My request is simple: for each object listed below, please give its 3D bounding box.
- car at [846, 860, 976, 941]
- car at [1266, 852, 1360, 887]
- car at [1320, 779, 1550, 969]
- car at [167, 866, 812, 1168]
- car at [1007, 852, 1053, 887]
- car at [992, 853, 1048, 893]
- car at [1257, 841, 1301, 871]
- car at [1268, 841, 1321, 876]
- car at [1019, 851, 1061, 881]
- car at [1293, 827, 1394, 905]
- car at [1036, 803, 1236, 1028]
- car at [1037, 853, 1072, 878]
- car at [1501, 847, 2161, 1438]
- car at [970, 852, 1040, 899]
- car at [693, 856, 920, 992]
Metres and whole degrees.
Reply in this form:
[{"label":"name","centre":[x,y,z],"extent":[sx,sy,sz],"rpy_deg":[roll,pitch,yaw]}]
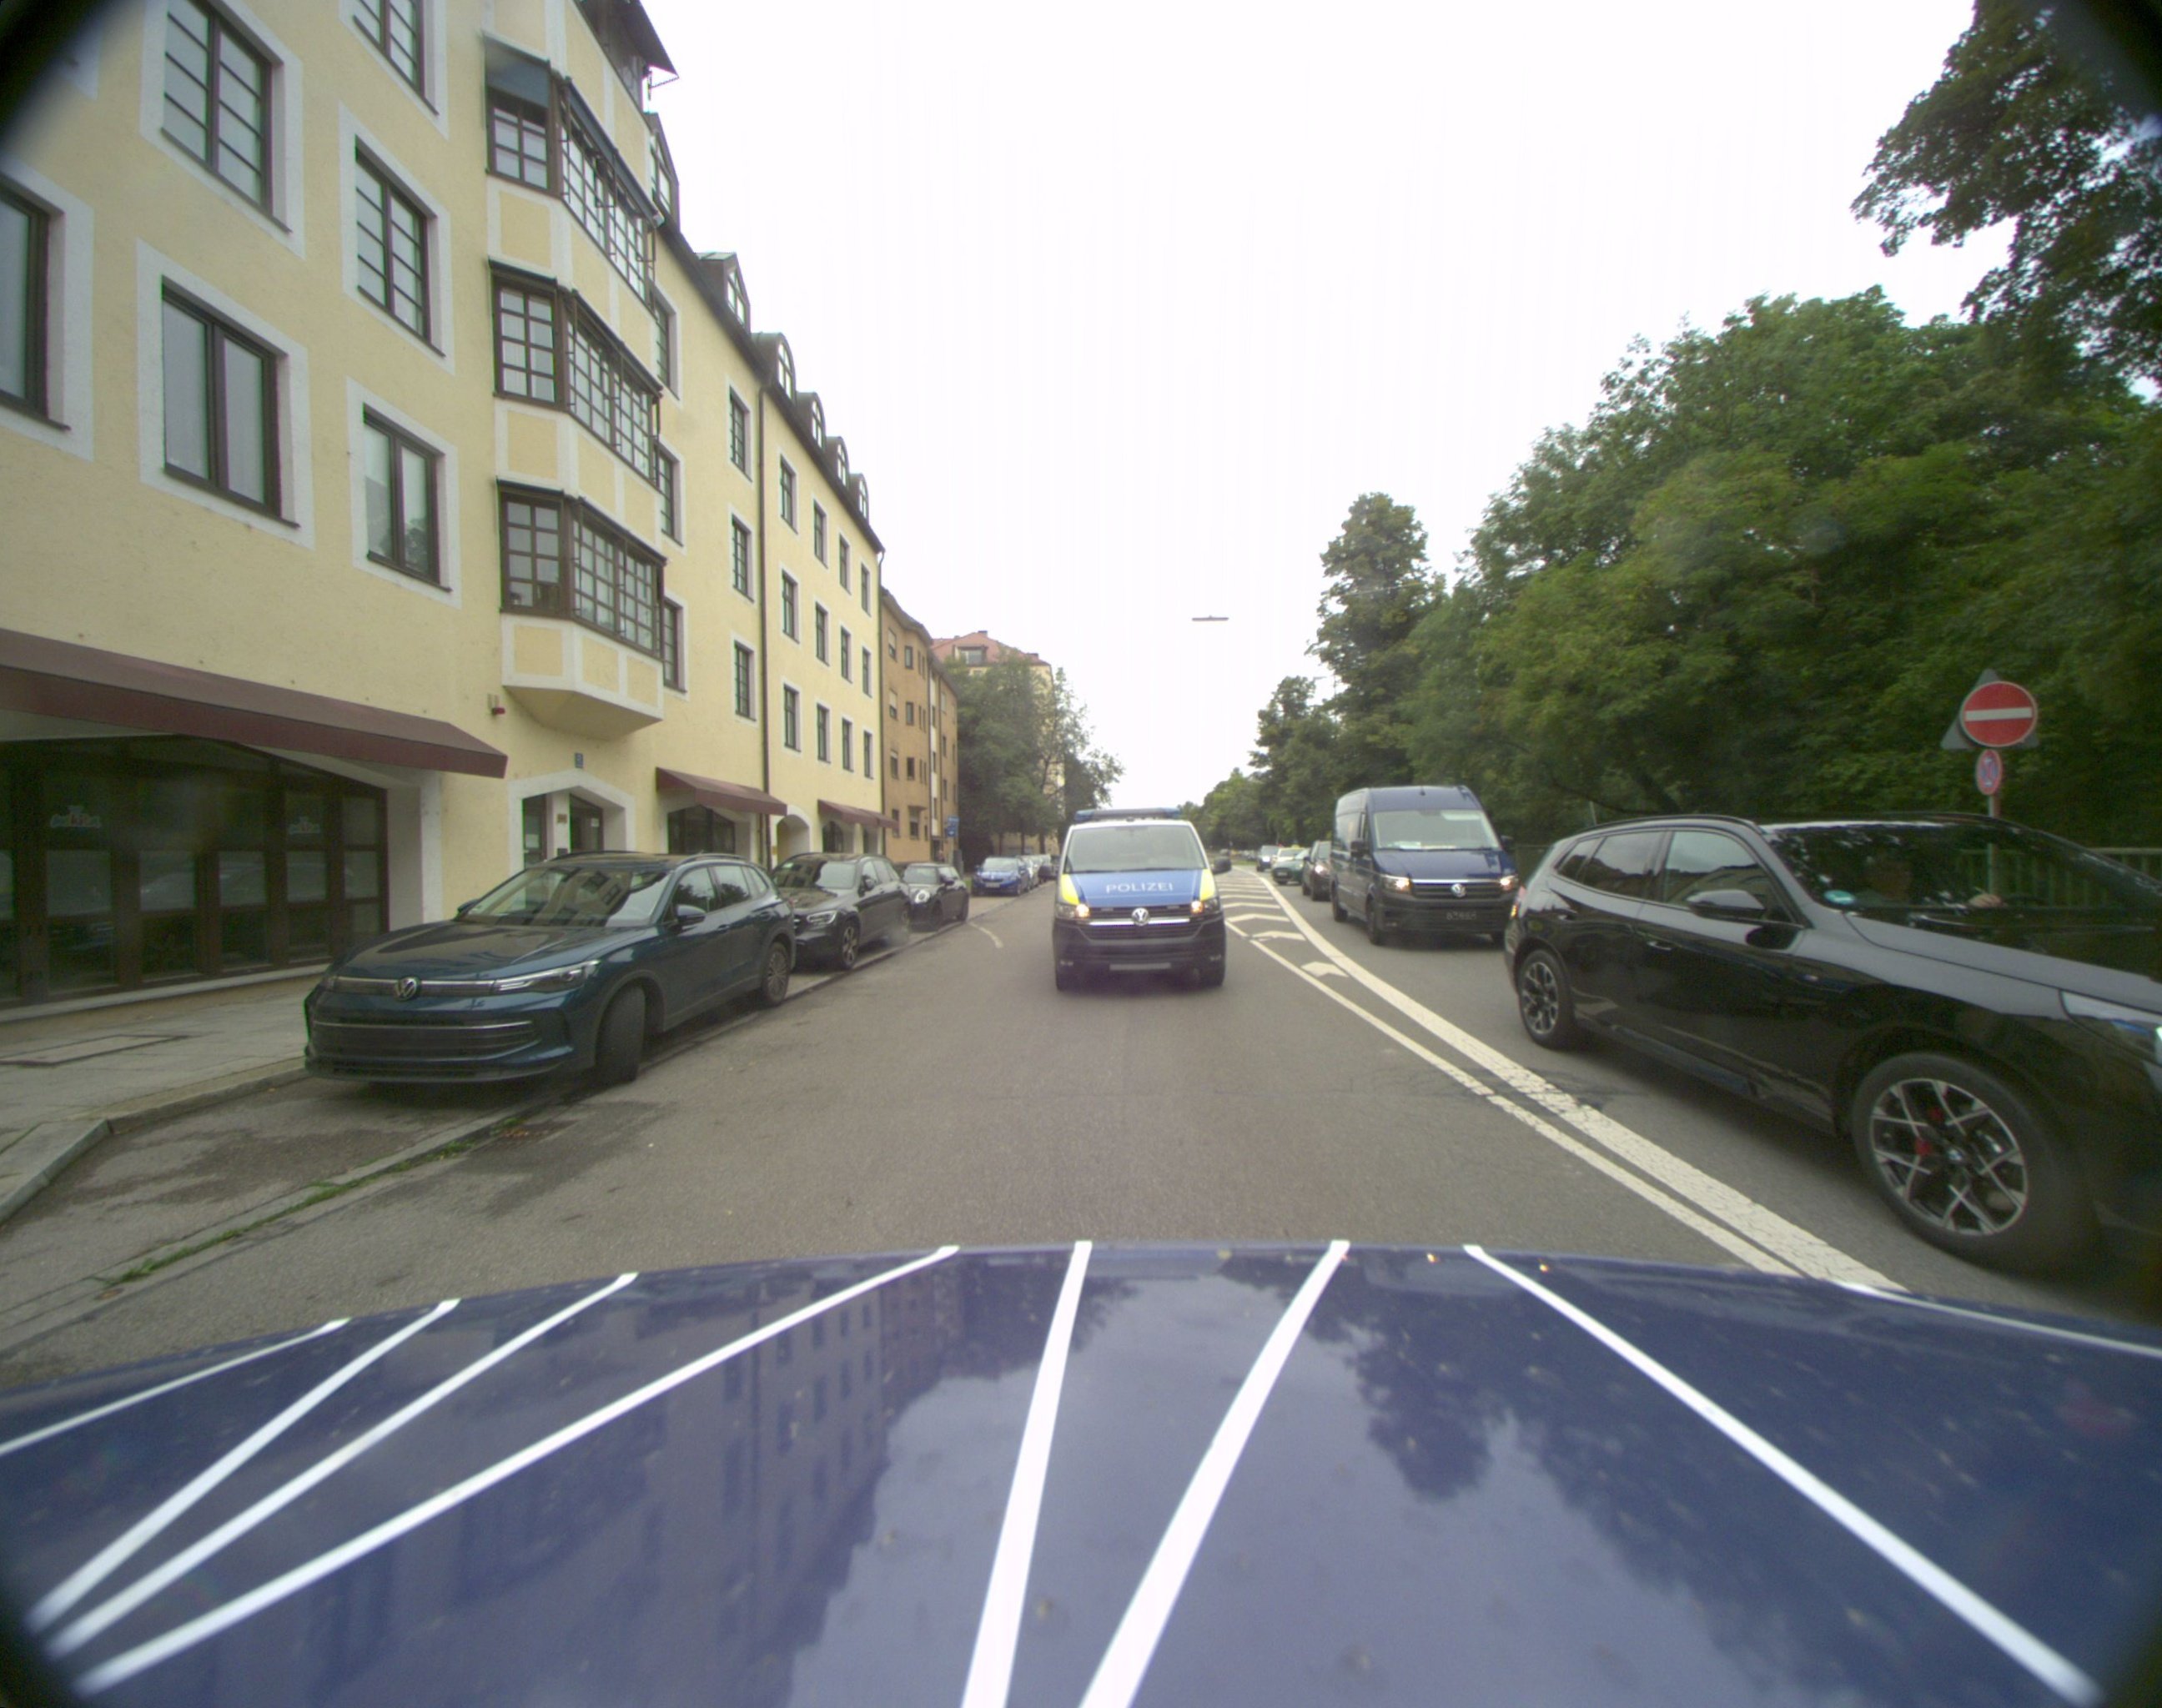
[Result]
[{"label":"car","centre":[-3.642,0.928,17.000],"extent":[1.764,1.514,3.933],"rpy_deg":[1,1,4]},{"label":"car","centre":[9.024,0.575,29.493],"extent":[3.617,1.207,1.493],"rpy_deg":[-2,1,-33]},{"label":"car","centre":[5.626,0.219,13.117],"extent":[2.004,2.477,6.236],"rpy_deg":[-1,1,10]},{"label":"car","centre":[-4.203,0.977,6.640],"extent":[2.112,1.613,4.496],"rpy_deg":[-1,0,-1]},{"label":"car","centre":[-2.604,0.765,39.993],"extent":[1.883,1.642,4.585],"rpy_deg":[-3,0,2]},{"label":"car","centre":[-2.738,0.805,35.122],"extent":[1.883,1.642,4.617],"rpy_deg":[-3,0,3]},{"label":"car","centre":[12.436,0.112,48.047],"extent":[2.314,1.719,5.219],"rpy_deg":[-2,0,12]},{"label":"car","centre":[10.646,0.182,38.297],"extent":[2.102,1.581,5.572],"rpy_deg":[-2,0,12]},{"label":"car","centre":[-2.338,0.664,44.727],"extent":[1.883,1.642,4.300],"rpy_deg":[-3,0,4]},{"label":"car","centre":[7.544,0.285,22.390],"extent":[2.004,1.925,5.810],"rpy_deg":[-2,0,12]},{"label":"car","centre":[0.585,0.591,10.116],"extent":[1.826,2.086,5.633],"rpy_deg":[-3,0,1]},{"label":"car","centre":[-1.697,0.735,50.110],"extent":[1.883,1.474,4.300],"rpy_deg":[-3,0,4]},{"label":"car","centre":[4.050,0.763,3.743],"extent":[1.920,1.556,4.295],"rpy_deg":[0,1,6]},{"label":"car","centre":[-2.867,0.744,29.871],"extent":[1.883,1.642,5.618],"rpy_deg":[0,0,3]},{"label":"car","centre":[-3.988,0.908,11.884],"extent":[1.817,1.580,4.164],"rpy_deg":[3,1,2]}]
